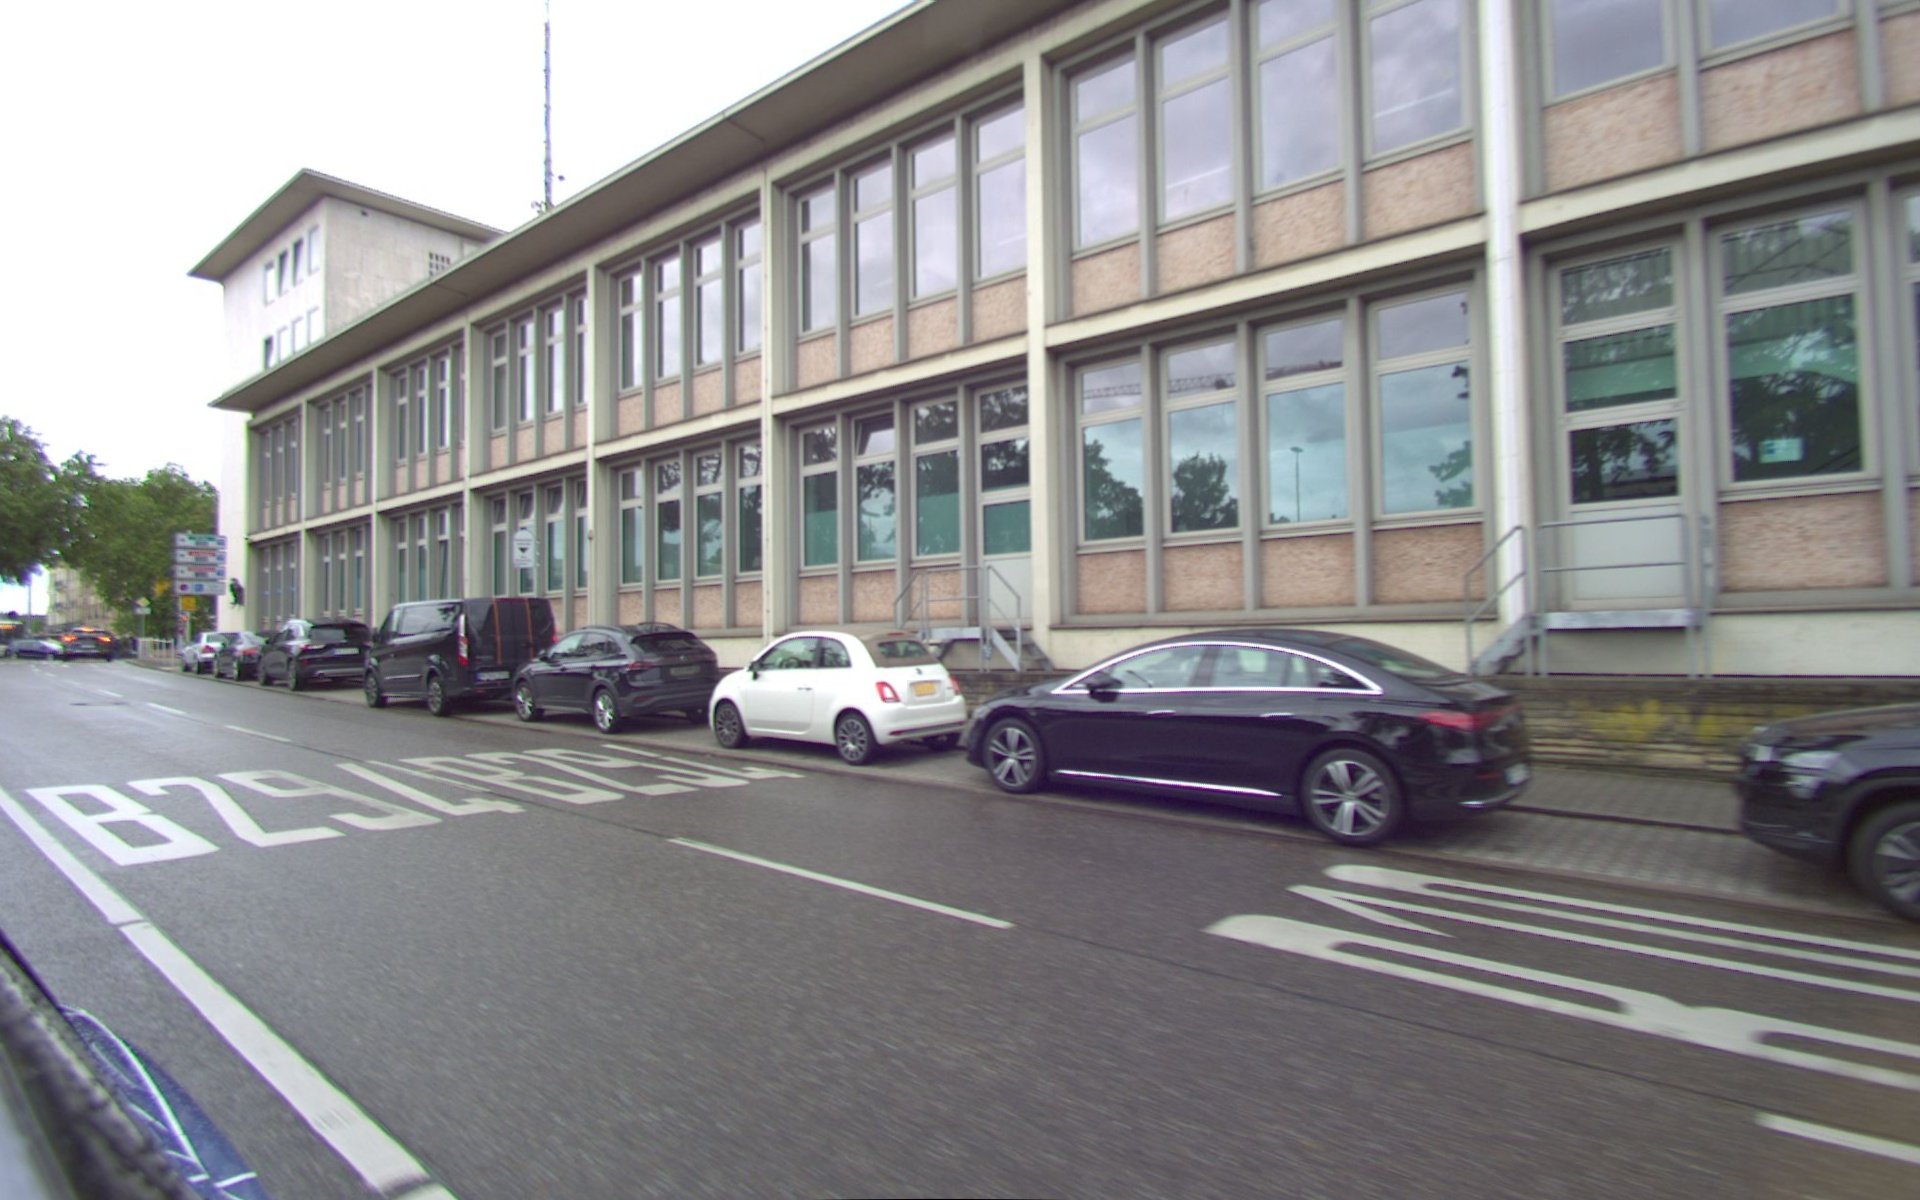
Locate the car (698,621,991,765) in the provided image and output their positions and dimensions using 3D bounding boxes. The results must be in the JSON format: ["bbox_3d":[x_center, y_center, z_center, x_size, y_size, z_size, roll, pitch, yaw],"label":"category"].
[{"bbox_3d":[-1.479,1.048,12.297,3.550,1.495,1.550,-2,-3,40],"label":"car"}]

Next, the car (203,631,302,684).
[{"bbox_3d":[-19.927,1.585,28.444,4.111,1.364,1.525,-2,-3,44],"label":"car"}]

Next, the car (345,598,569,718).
[{"bbox_3d":[-9.457,1.019,18.832,4.992,1.958,1.929,-2,-3,40],"label":"car"}]

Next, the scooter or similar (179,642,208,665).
[{"bbox_3d":[-40.456,2.829,53.448,0.599,1.201,1.532,1,-4,-13],"label":"scooter or similar"}]

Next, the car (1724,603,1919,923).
[{"bbox_3d":[6.690,0.837,5.046,4.512,1.666,1.823,-1,-1,40],"label":"car"}]

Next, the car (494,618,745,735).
[{"bbox_3d":[-5.385,1.123,15.750,4.311,1.564,1.841,-2,-4,42],"label":"car"}]

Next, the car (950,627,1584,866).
[{"bbox_3d":[2.325,1.014,8.682,4.907,1.495,1.796,-2,-3,41],"label":"car"}]

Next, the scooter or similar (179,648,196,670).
[{"bbox_3d":[-43.013,3.273,56.355,0.563,1.201,1.575,4,-5,-43],"label":"scooter or similar"}]

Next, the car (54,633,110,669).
[{"bbox_3d":[-42.688,2.494,49.183,1.800,1.673,4.341,4,-5,-43],"label":"car"}]

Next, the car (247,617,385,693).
[{"bbox_3d":[-15.863,1.316,24.828,4.603,1.688,1.777,-2,-3,43],"label":"car"}]

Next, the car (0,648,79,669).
[{"bbox_3d":[-65.050,4.116,71.146,4.343,1.420,1.824,1,-4,-9],"label":"car"}]

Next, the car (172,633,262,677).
[{"bbox_3d":[-23.800,1.724,32.365,4.094,1.307,1.672,-2,-3,44],"label":"car"}]

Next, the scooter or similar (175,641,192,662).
[{"bbox_3d":[-44.137,2.929,57.501,1.502,1.176,0.483,-4,-5,44],"label":"scooter or similar"}]
